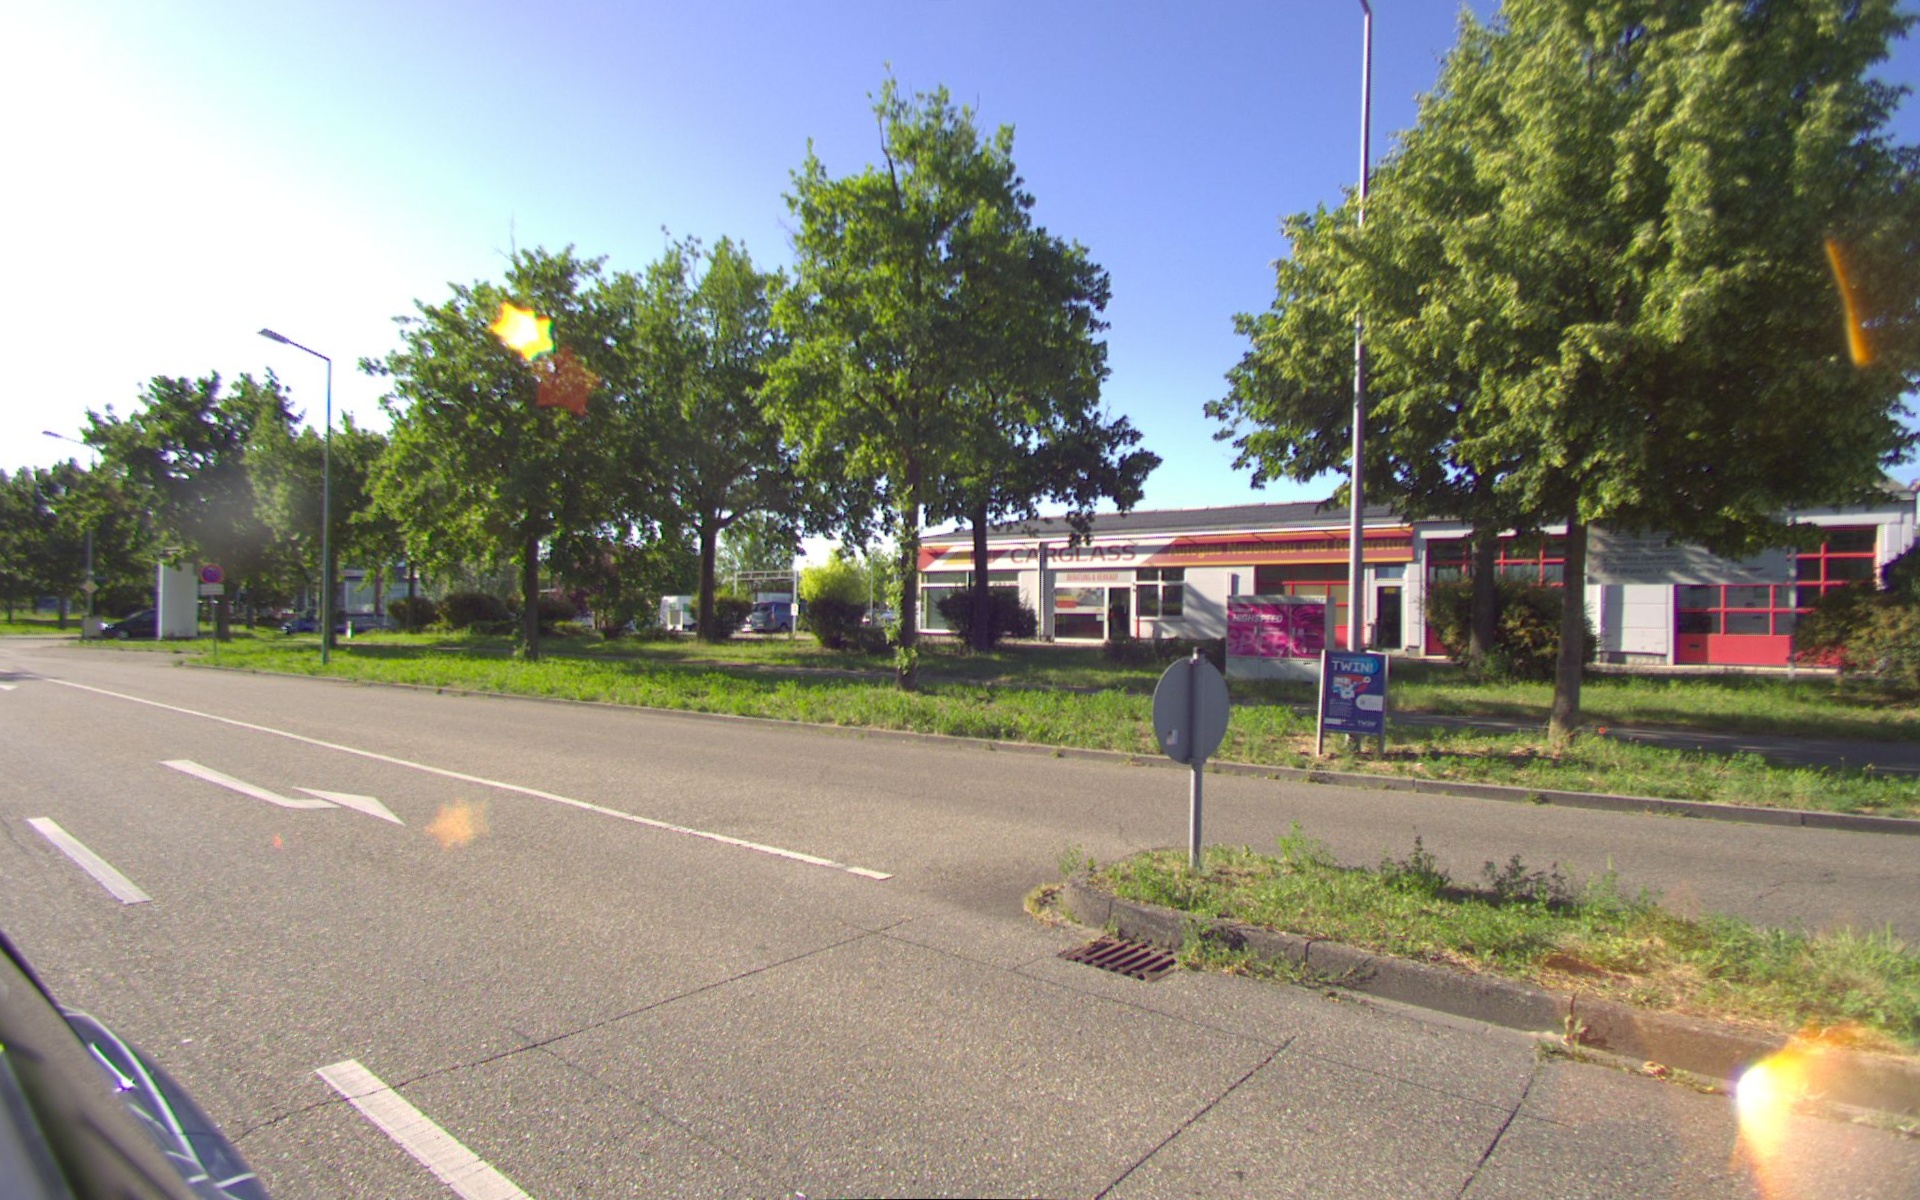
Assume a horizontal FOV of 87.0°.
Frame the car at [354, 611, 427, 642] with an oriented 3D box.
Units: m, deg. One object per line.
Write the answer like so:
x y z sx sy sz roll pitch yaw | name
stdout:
-38.535 1.777 68.468 3.938 2.029 2.003 2 -2 -41 | car

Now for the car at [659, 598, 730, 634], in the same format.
-16.937 1.063 64.676 1.775 2.234 4.161 -1 -2 38 | car

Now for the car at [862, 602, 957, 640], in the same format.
-2.201 0.913 45.358 1.995 1.599 4.186 -1 0 39 | car

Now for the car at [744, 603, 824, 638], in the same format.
-10.413 1.193 60.109 1.995 1.960 4.435 -1 0 39 | car

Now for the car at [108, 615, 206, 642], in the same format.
-45.062 1.583 56.832 4.152 1.497 1.779 1 -1 -44 | car
